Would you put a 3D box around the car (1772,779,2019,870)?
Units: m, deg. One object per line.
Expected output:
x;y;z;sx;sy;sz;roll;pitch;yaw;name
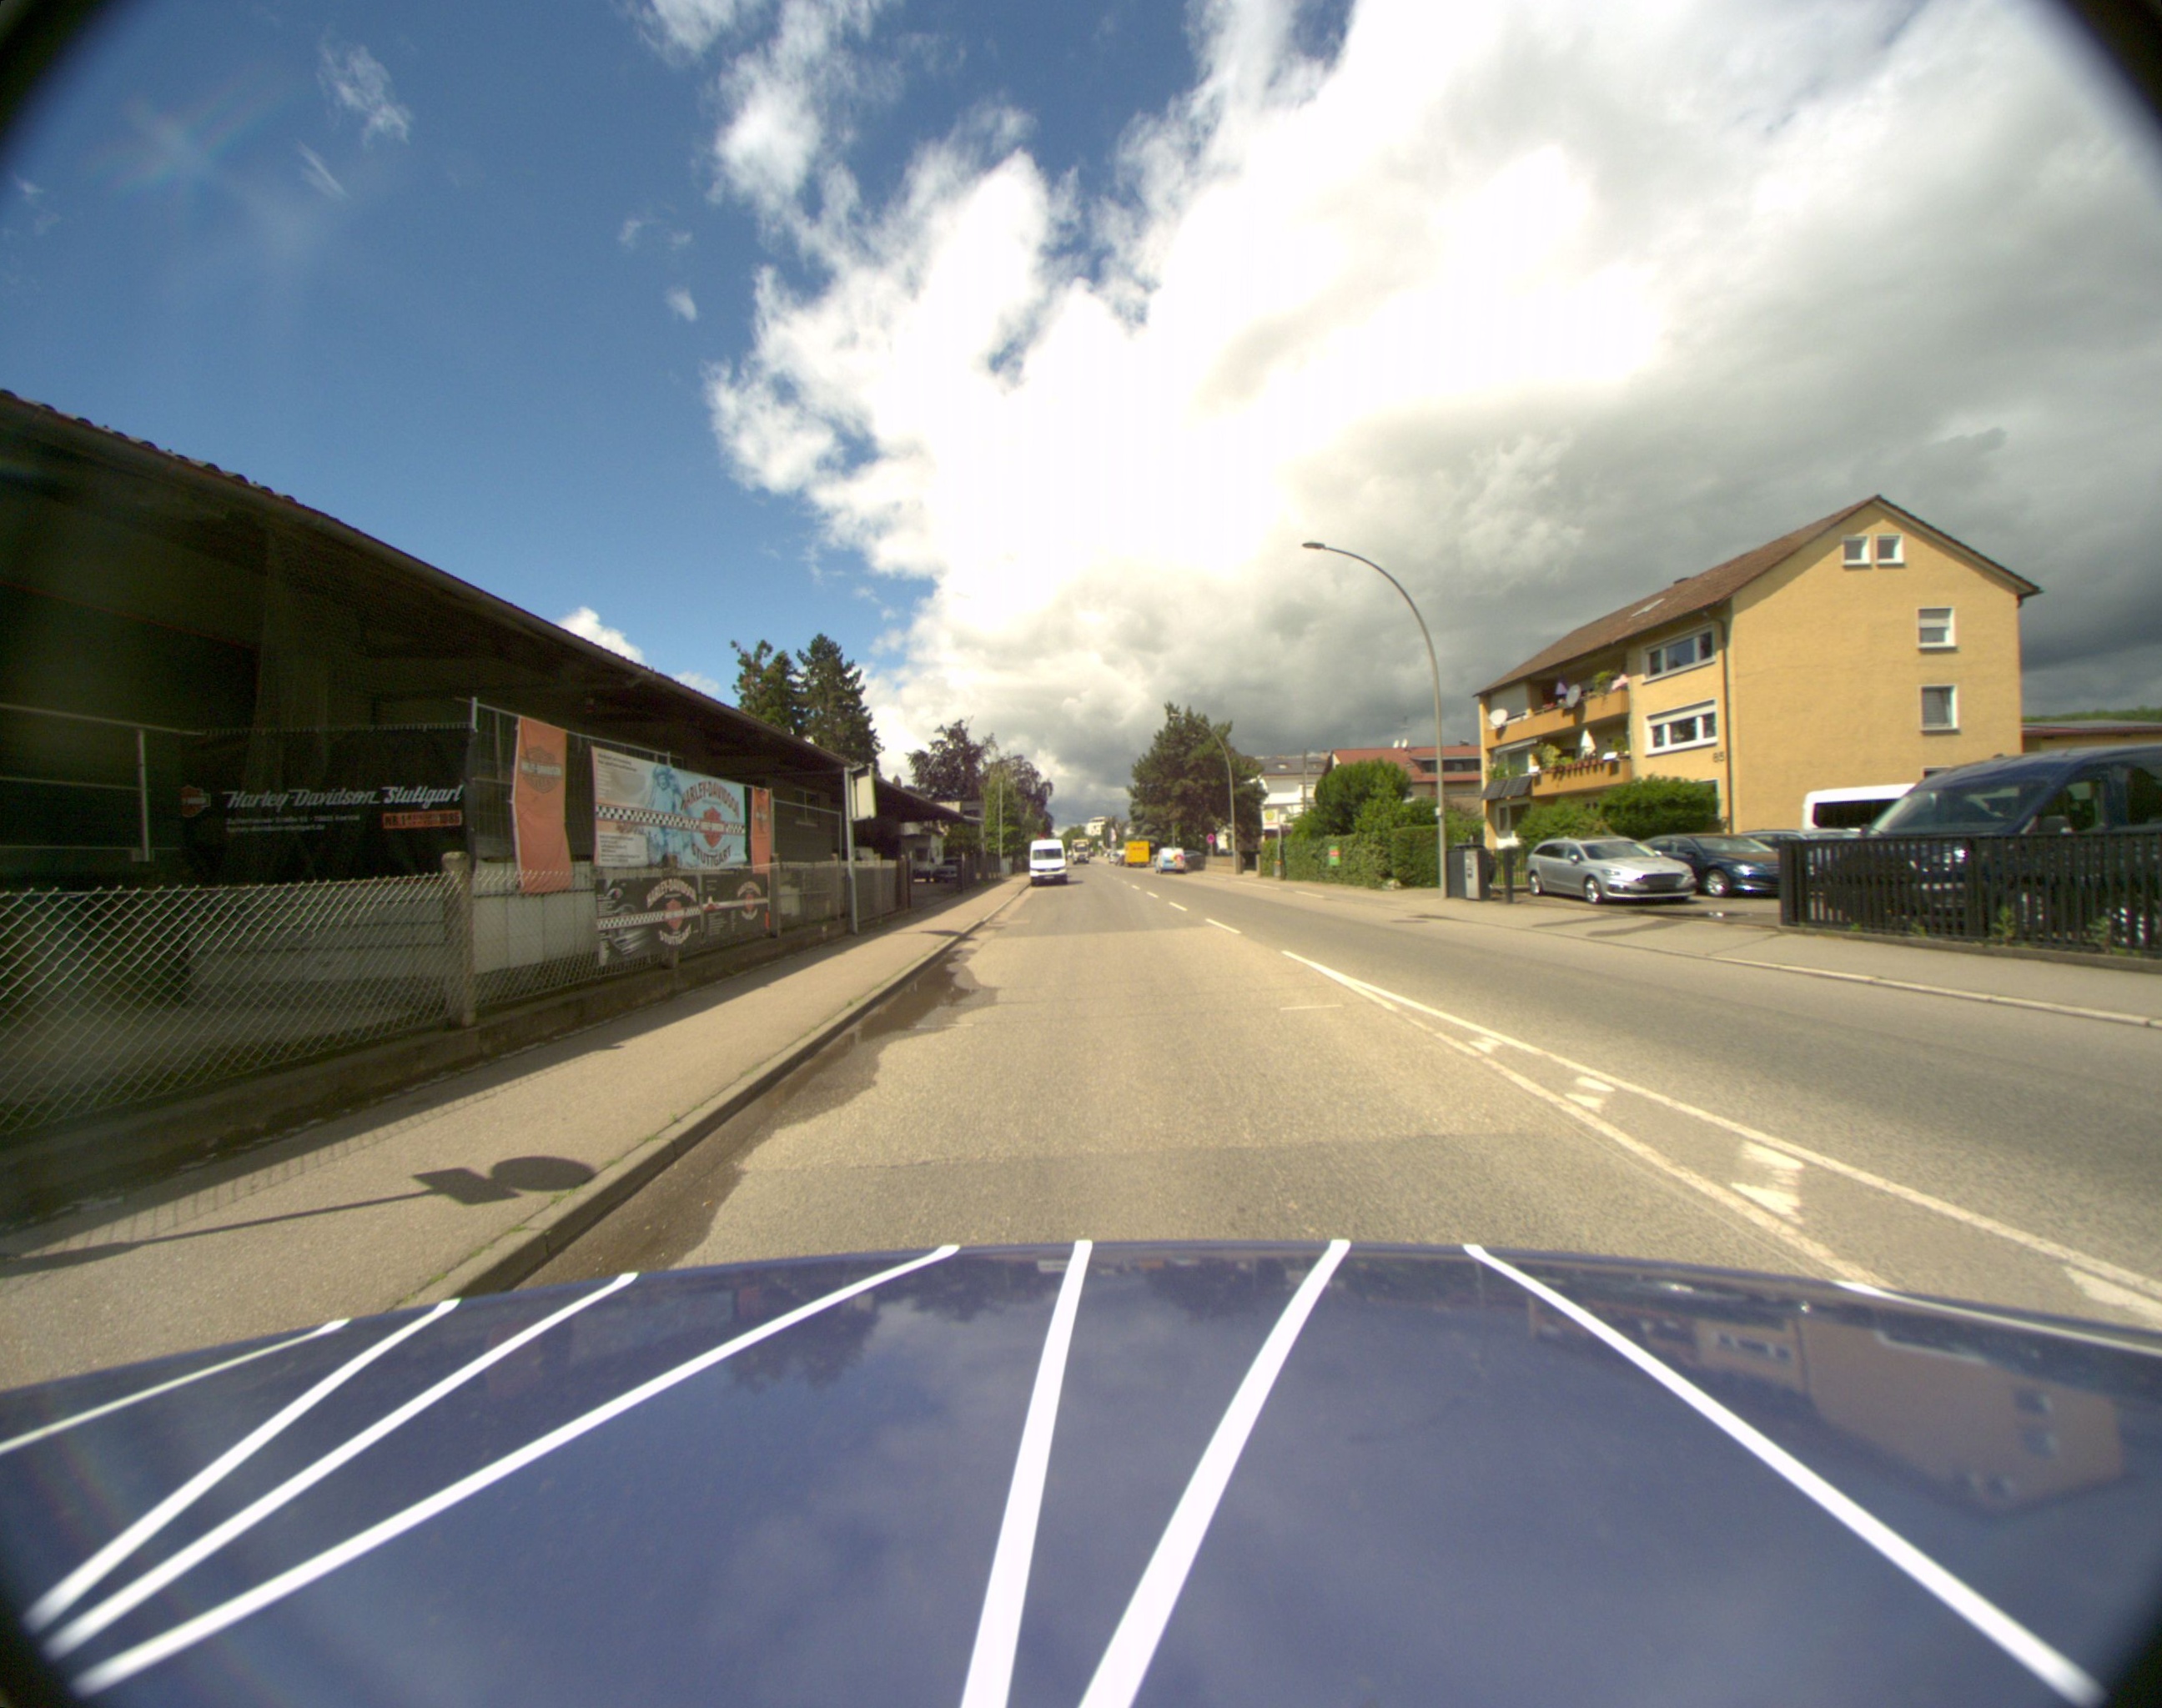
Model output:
20.429;-0.696;19.358;1.998;2.002;3.999;-2;1;1;car

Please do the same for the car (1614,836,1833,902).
15.101;0.294;18.196;1.885;1.334;3.999;-2;1;1;car

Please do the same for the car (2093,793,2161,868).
28.710;-0.634;18.814;1.998;1.915;3.999;-2;1;1;car

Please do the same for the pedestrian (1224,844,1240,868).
13.729;0.187;69.176;0.786;2.226;1.083;-3;2;-41;pedestrian

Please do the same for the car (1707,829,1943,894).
17.909;0.139;18.608;1.883;1.364;3.999;-2;1;1;car

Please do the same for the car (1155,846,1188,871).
6.547;0.307;55.198;1.730;1.671;3.999;-2;1;-2;car

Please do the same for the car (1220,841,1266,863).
15.290;-0.162;71.842;2.003;2.002;3.990;-3;1;-32;car

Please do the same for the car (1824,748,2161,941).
14.221;-0.187;10.671;5.363;2.371;2.104;-2;1;2;car

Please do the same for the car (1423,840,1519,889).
14.625;0.352;28.727;1.831;1.656;3.522;-2;1;1;car

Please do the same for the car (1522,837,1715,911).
12.337;0.388;17.848;1.887;1.450;4.352;-3;1;8;car

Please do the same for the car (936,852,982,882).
-7.143;0.719;44.828;1.863;1.521;5.202;-2;1;0;car

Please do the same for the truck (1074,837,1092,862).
0.322;-0.764;121.071;2.664;3.789;9.814;-2;1;1;truck

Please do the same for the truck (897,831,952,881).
-9.477;0.089;46.391;2.091;2.812;5.202;-2;1;1;truck

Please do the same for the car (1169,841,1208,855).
14.162;-0.763;99.986;4.735;1.669;2.218;-2;1;-1;car

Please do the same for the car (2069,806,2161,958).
12.380;0.277;7.016;1.813;1.612;3.621;-2;1;1;car

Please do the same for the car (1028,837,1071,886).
-1.707;0.359;43.184;2.091;2.519;5.202;-2;1;1;car
